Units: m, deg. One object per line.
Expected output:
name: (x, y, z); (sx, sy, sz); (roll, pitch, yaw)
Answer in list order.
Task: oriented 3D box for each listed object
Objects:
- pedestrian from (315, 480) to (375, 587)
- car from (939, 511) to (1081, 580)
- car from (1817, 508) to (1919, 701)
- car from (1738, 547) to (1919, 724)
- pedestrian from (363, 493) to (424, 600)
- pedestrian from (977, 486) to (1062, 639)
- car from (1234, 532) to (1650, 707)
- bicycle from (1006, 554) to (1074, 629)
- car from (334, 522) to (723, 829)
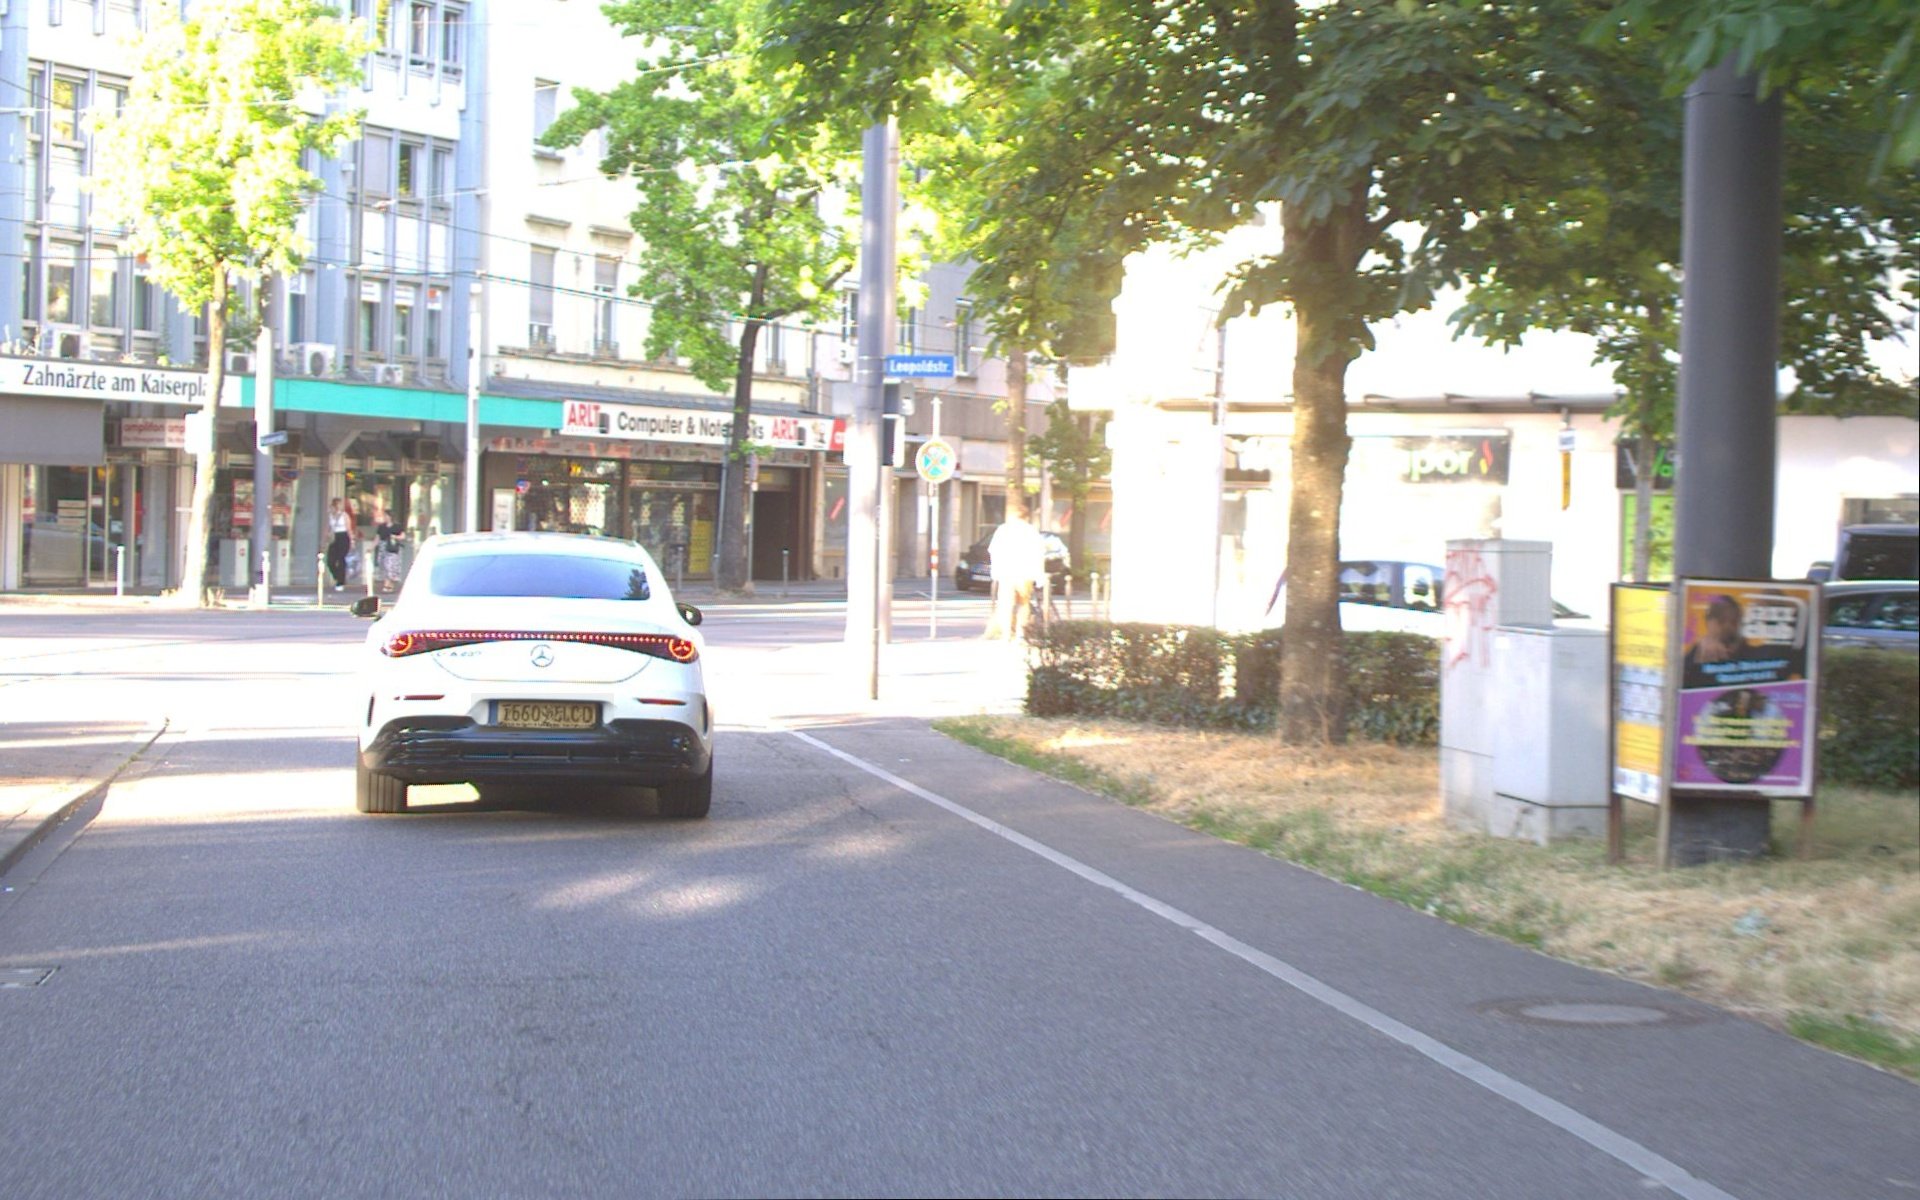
pedestrian: (-11.806, -1.270, 66.001); (0.798, 2.007, 0.733); (3, 1, 27)
car: (1.278, -1.361, 86.342); (1.965, 1.634, 3.994); (3, 1, 27)
car: (11.360, 0.092, 35.530); (4.503, 1.957, 2.021); (2, 1, 25)
car: (9.487, 0.354, 30.652); (4.664, 1.508, 1.737); (2, 1, 25)
pedestrian: (-10.821, -1.011, 65.715); (0.798, 2.007, 0.733); (3, 1, 27)
pedestrian: (0.803, -0.500, 46.070); (0.842, 2.007, 0.845); (2, 1, 20)
car: (4.637, 0.160, 33.066); (3.571, 1.508, 1.737); (2, 1, 25)
bicycle: (1.186, -0.123, 50.697); (0.354, 1.073, 1.697); (2, 1, 23)
car: (-2.313, 0.327, 18.772); (1.867, 1.464, 4.043); (1, 1, -6)
